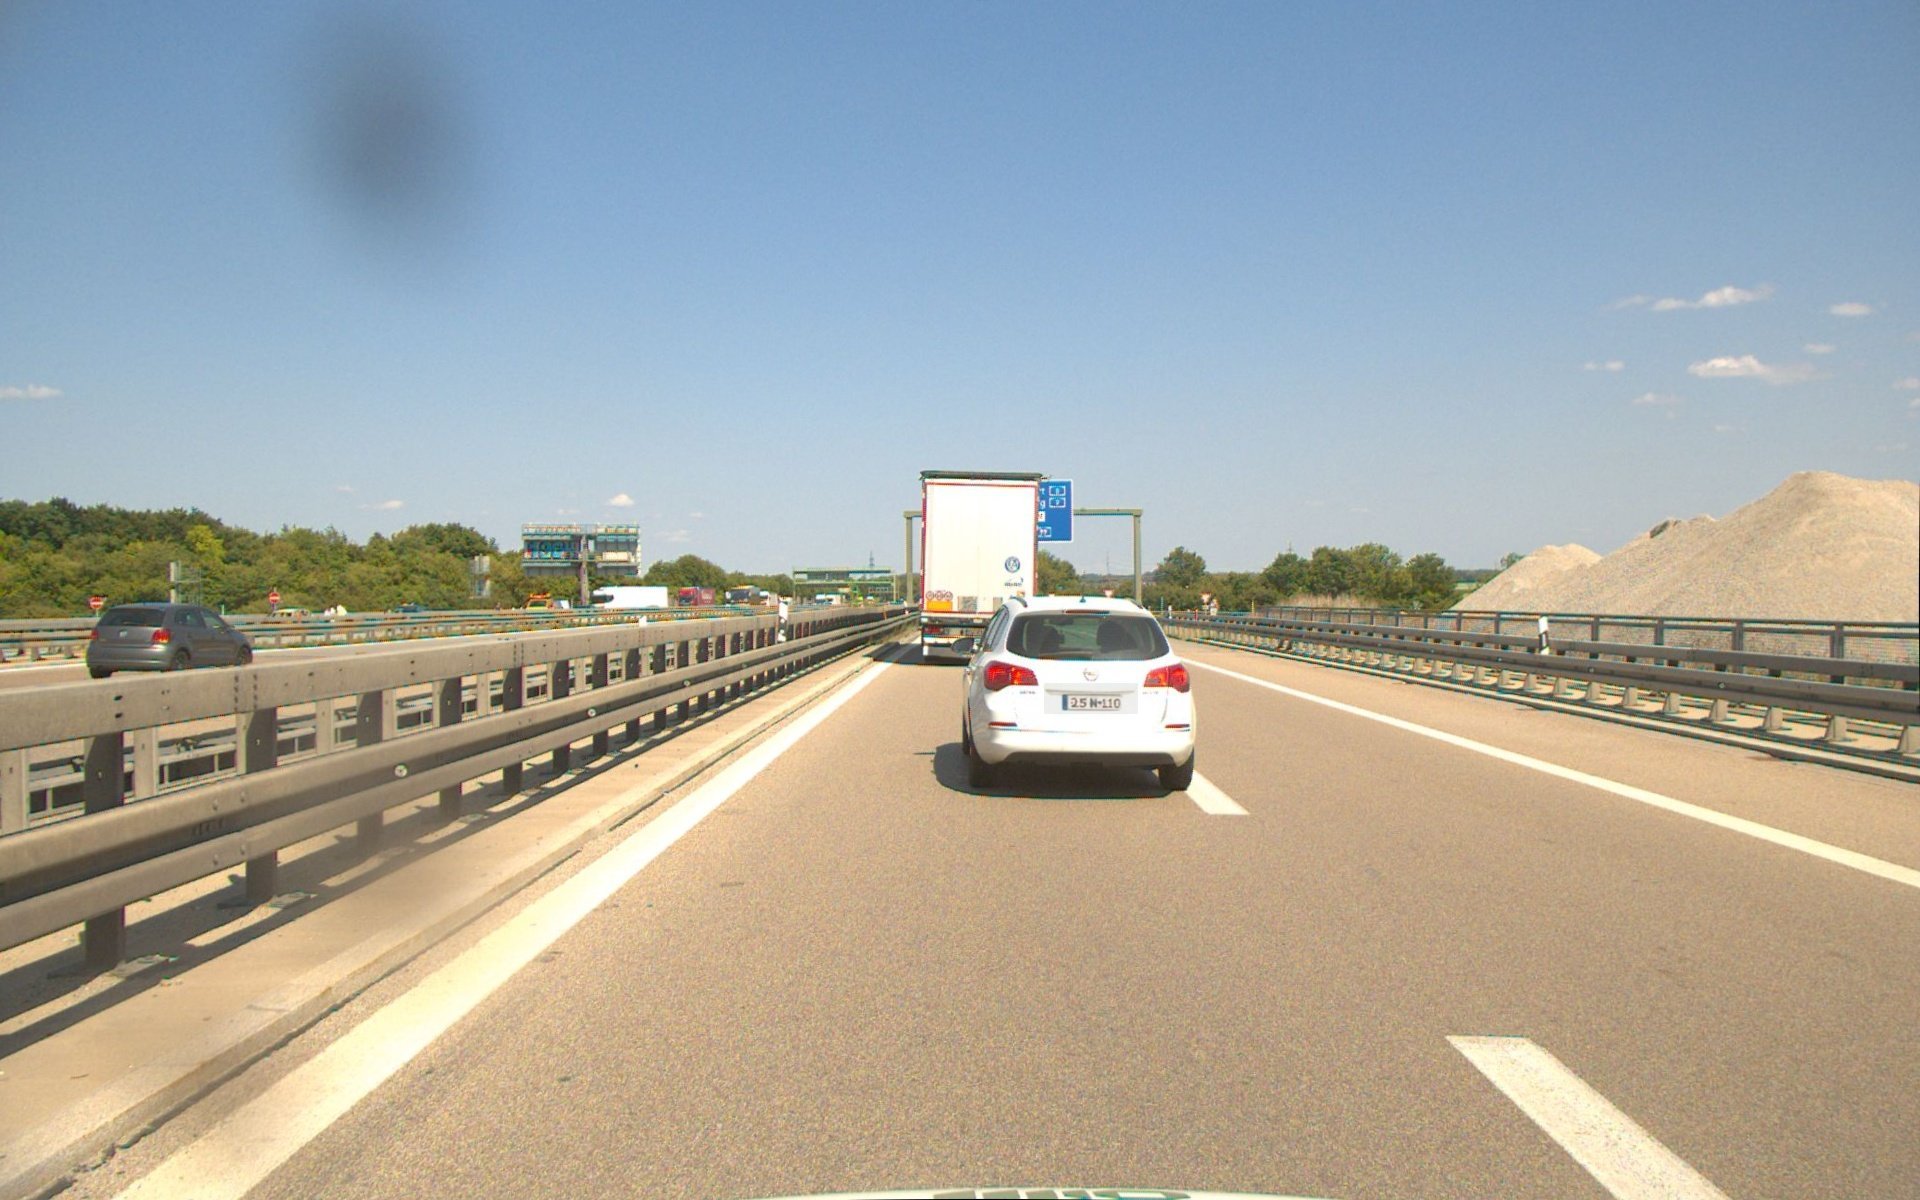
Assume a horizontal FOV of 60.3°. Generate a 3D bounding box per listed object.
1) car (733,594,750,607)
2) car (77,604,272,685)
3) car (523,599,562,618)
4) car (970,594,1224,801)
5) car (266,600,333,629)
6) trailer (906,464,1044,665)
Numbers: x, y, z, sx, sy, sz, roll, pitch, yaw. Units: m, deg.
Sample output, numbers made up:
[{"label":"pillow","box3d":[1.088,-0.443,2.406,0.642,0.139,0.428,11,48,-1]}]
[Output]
[{"label":"car","box3d":[-28.029,0.020,212.271,1.752,1.668,4.000,0,0,0]},{"label":"car","box3d":[-15.065,0.807,31.991,1.726,1.447,4.216,0,0,0]},{"label":"car","box3d":[-34.135,0.675,135.430,1.800,1.544,5.298,0,0,0]},{"label":"car","box3d":[1.009,0.695,14.139,1.816,1.468,4.372,1,0,0]},{"label":"car","box3d":[-35.731,0.761,89.604,1.800,1.544,4.531,0,0,0]},{"label":"trailer","box3d":[0.370,-0.703,40.631,2.852,4.218,11.257,1,-1,1]}]
